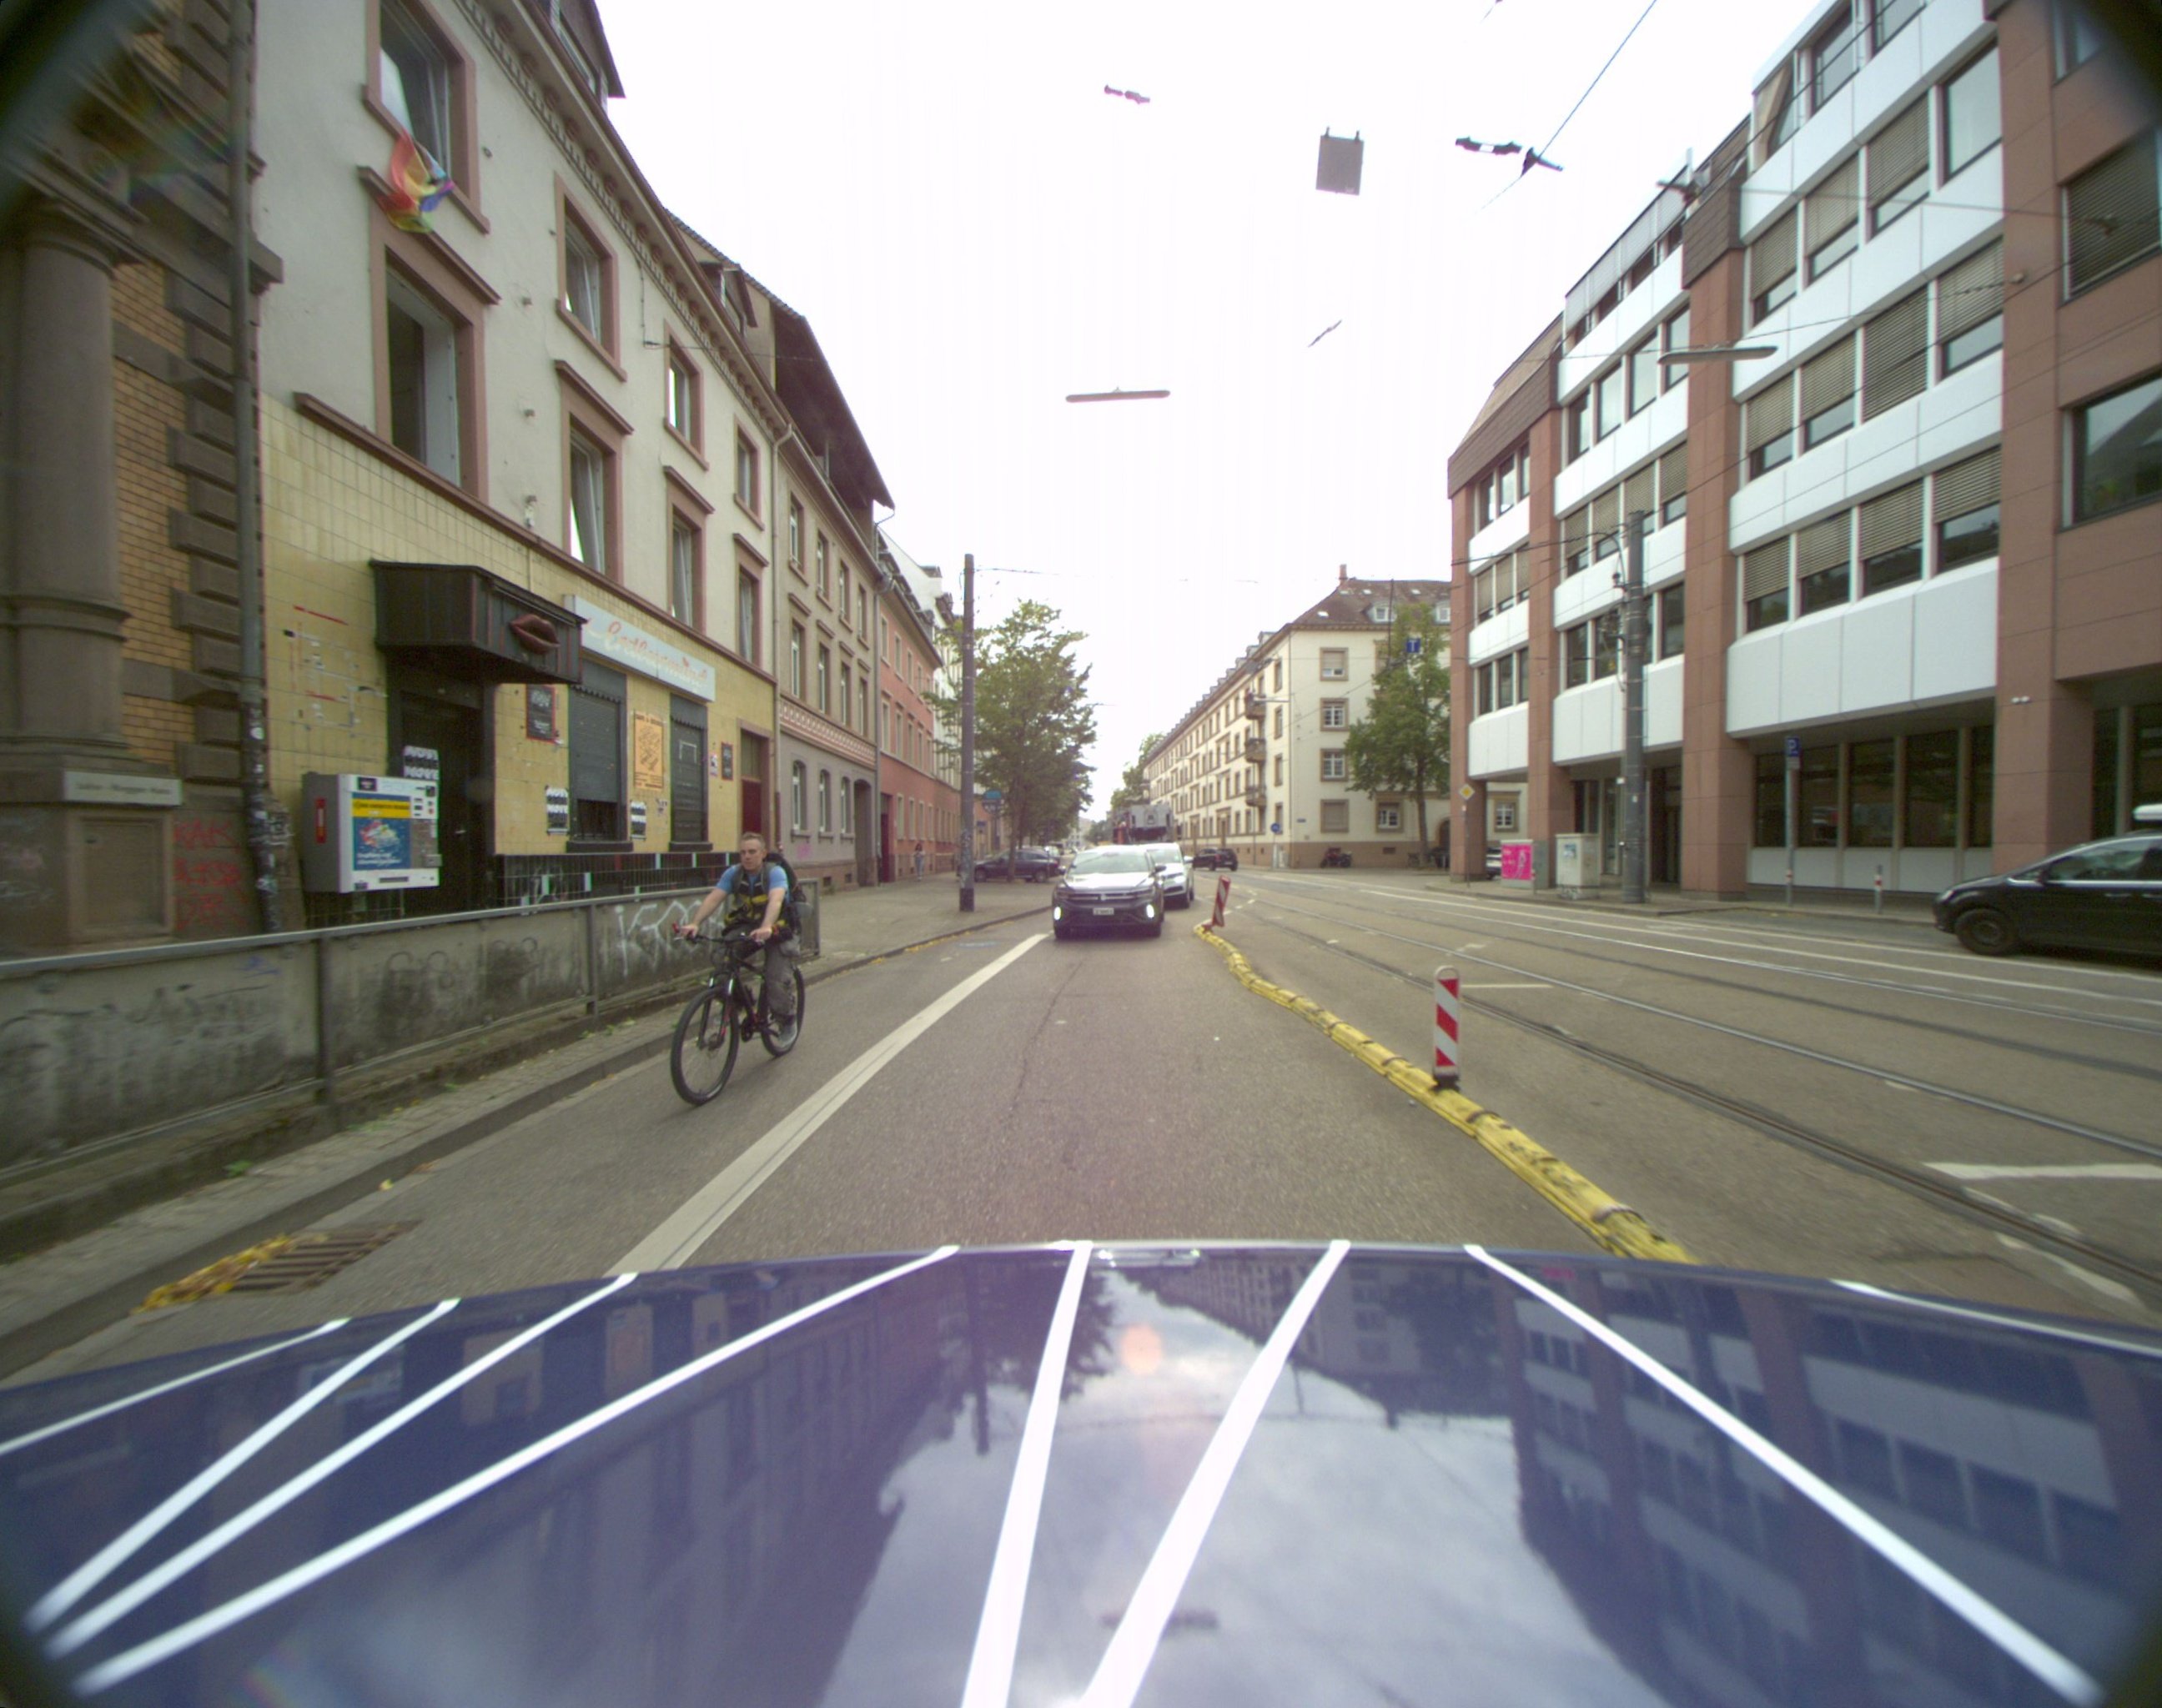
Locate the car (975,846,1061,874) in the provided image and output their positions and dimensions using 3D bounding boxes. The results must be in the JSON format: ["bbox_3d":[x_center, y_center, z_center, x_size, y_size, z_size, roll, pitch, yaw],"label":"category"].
[{"bbox_3d":[-3.437,0.308,41.730,4.351,1.471,1.786,1,1,-24],"label":"car"}]

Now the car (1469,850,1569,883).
[{"bbox_3d":[19.357,0.550,33.633,3.650,1.380,1.610,0,1,-9],"label":"car"}]

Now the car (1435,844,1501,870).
[{"bbox_3d":[21.555,0.120,42.479,1.611,1.388,3.873,0,1,-2],"label":"car"}]

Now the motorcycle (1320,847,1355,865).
[{"bbox_3d":[15.841,0.130,46.974,1.924,1.080,0.793,0,1,0],"label":"motorcycle"}]

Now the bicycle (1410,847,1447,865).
[{"bbox_3d":[21.580,0.117,47.144,1.924,1.080,0.793,0,1,0],"label":"bicycle"}]

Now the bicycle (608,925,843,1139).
[{"bbox_3d":[-2.302,1.097,5.217,0.714,1.012,1.800,-2,1,0],"label":"bicycle"}]

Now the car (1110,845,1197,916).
[{"bbox_3d":[1.991,0.590,19.645,1.772,1.582,4.285,-2,1,11],"label":"car"}]

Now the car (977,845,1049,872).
[{"bbox_3d":[-4.386,0.283,48.797,4.245,1.688,1.736,1,1,-24],"label":"car"}]

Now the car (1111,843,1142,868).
[{"bbox_3d":[3.164,0.075,53.520,1.998,1.698,4.052,0,1,1],"label":"car"}]

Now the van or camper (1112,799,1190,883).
[{"bbox_3d":[3.053,-0.608,35.734,2.607,3.401,9.650,-1,1,-1],"label":"van or camper"}]

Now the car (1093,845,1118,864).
[{"bbox_3d":[2.028,0.040,63.362,1.911,1.478,3.999,0,1,-1],"label":"car"}]

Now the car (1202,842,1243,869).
[{"bbox_3d":[8.569,0.074,46.269,1.773,1.528,4.048,-2,1,1],"label":"car"}]

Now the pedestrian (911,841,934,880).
[{"bbox_3d":[-6.972,0.283,33.362,0.732,1.678,0.926,3,1,-1],"label":"pedestrian"}]

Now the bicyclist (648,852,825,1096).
[{"bbox_3d":[-2.316,0.756,5.228,0.715,1.498,0.918,-2,1,0],"label":"bicyclist"}]

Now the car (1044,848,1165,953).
[{"bbox_3d":[0.587,0.709,13.876,1.772,1.539,4.284,-2,1,7],"label":"car"}]

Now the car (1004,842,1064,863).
[{"bbox_3d":[-3.985,-0.090,64.118,4.635,1.688,1.913,1,1,-24],"label":"car"}]

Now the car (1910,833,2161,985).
[{"bbox_3d":[12.948,0.603,8.678,1.811,1.638,4.697,-2,1,0],"label":"car"}]

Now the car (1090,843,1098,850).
[{"bbox_3d":[3.232,-1.897,187.524,1.899,1.806,3.999,0,1,1],"label":"car"}]

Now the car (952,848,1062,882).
[{"bbox_3d":[-3.354,0.513,34.581,4.635,1.464,1.786,1,1,-24],"label":"car"}]
